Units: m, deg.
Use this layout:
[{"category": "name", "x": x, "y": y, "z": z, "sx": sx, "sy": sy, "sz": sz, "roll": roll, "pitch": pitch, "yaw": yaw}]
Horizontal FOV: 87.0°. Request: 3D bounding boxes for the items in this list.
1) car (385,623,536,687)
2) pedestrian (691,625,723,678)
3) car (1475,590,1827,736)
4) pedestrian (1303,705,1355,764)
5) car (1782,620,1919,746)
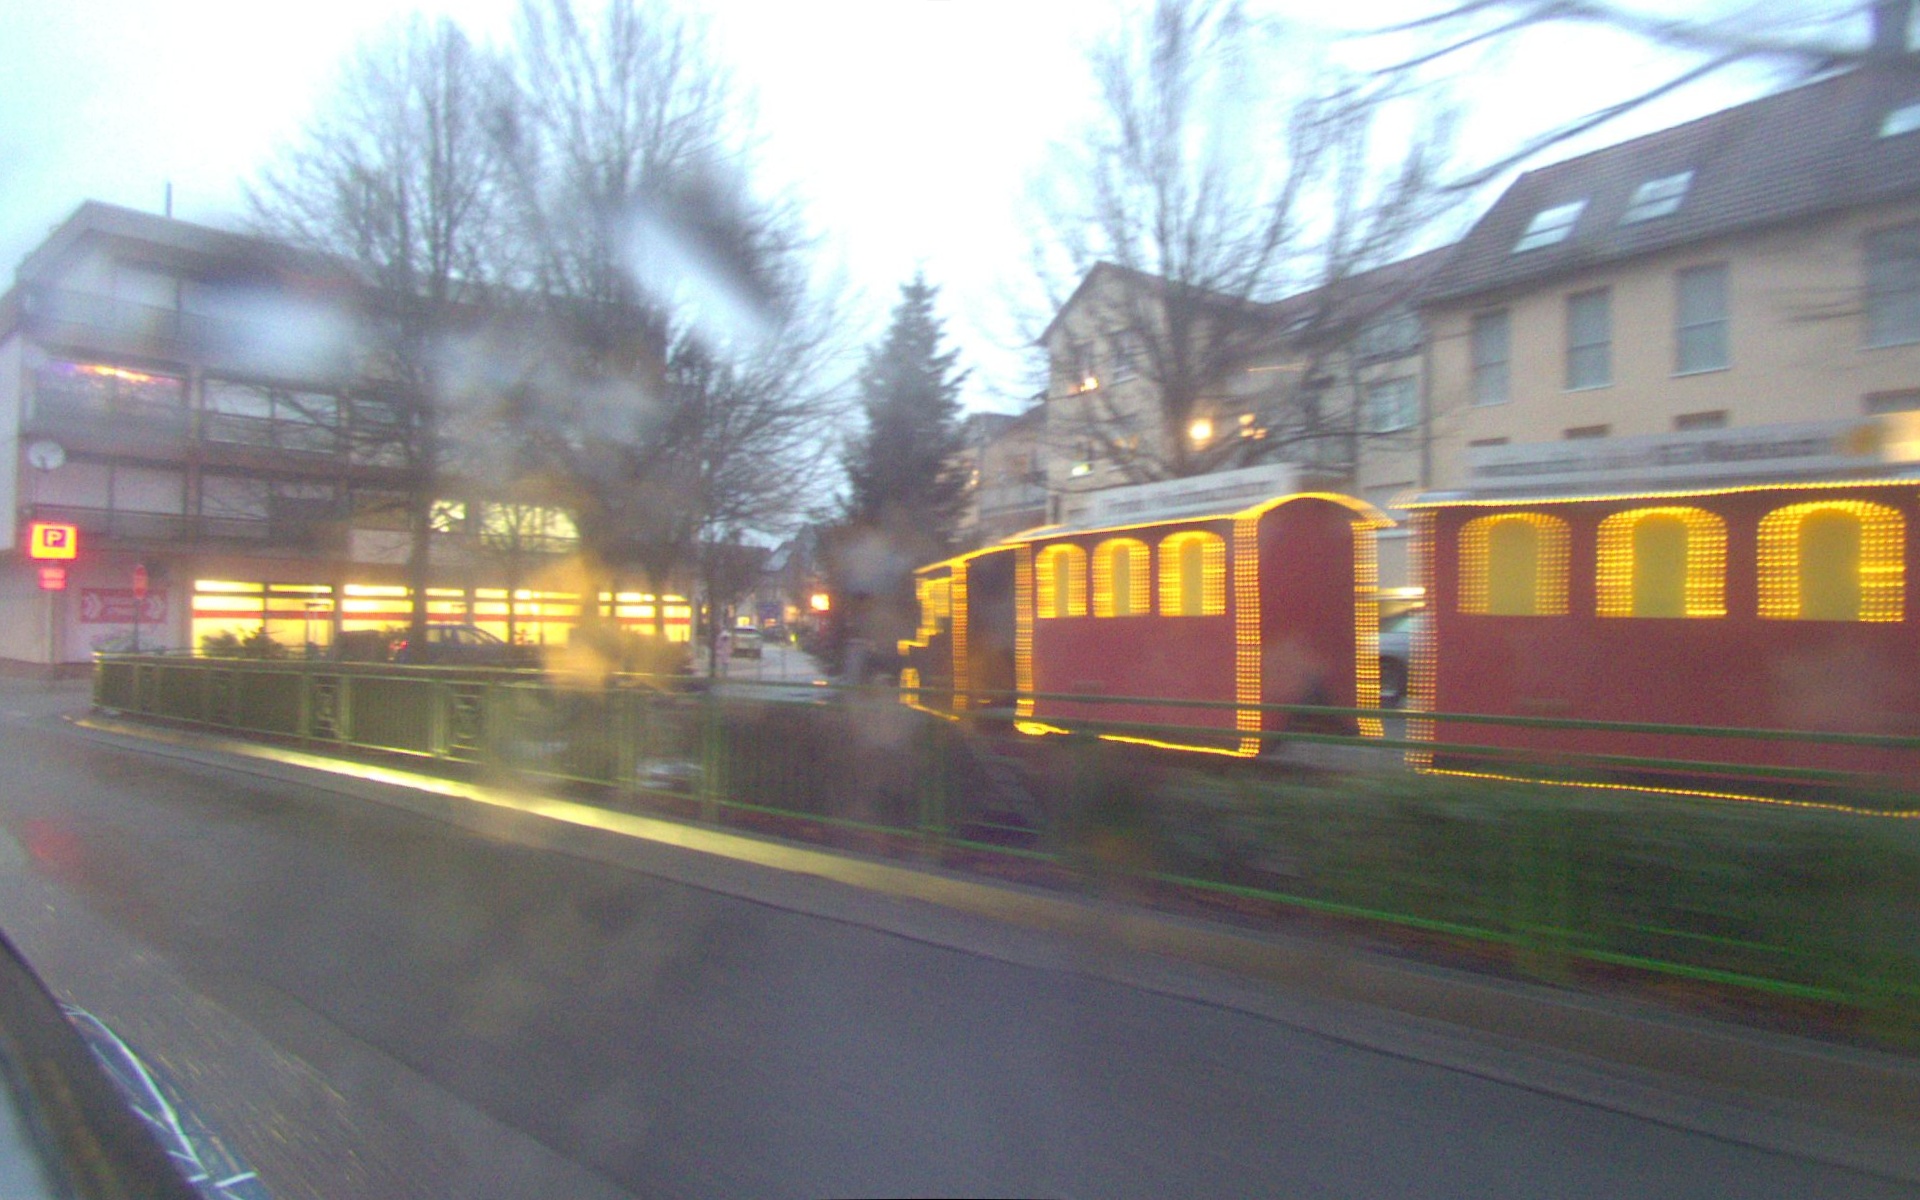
[{"category": "car", "x": -12.984, "y": 1.396, "z": 26.372, "sx": 3.260, "sy": 1.519, "sz": 1.504, "roll": 0, "pitch": -2, "yaw": -42}, {"category": "pedestrian", "x": -6.651, "y": 1.343, "z": 26.601, "sx": 0.612, "sy": 1.349, "sz": 0.568, "roll": 0, "pitch": -2, "yaw": -40}, {"category": "car", "x": 8.603, "y": 0.729, "z": 12.705, "sx": 3.574, "sy": 1.624, "sz": 1.614, "roll": -1, "pitch": -1, "yaw": -13}, {"category": "pedestrian", "x": 3.322, "y": 1.201, "z": 9.110, "sx": 0.361, "sy": 0.488, "sz": 0.291, "roll": -2, "pitch": -4, "yaw": 43}, {"category": "car", "x": 10.916, "y": 0.832, "z": 10.941, "sx": 3.004, "sy": 1.229, "sz": 1.614, "roll": -1, "pitch": -1, "yaw": -13}]
